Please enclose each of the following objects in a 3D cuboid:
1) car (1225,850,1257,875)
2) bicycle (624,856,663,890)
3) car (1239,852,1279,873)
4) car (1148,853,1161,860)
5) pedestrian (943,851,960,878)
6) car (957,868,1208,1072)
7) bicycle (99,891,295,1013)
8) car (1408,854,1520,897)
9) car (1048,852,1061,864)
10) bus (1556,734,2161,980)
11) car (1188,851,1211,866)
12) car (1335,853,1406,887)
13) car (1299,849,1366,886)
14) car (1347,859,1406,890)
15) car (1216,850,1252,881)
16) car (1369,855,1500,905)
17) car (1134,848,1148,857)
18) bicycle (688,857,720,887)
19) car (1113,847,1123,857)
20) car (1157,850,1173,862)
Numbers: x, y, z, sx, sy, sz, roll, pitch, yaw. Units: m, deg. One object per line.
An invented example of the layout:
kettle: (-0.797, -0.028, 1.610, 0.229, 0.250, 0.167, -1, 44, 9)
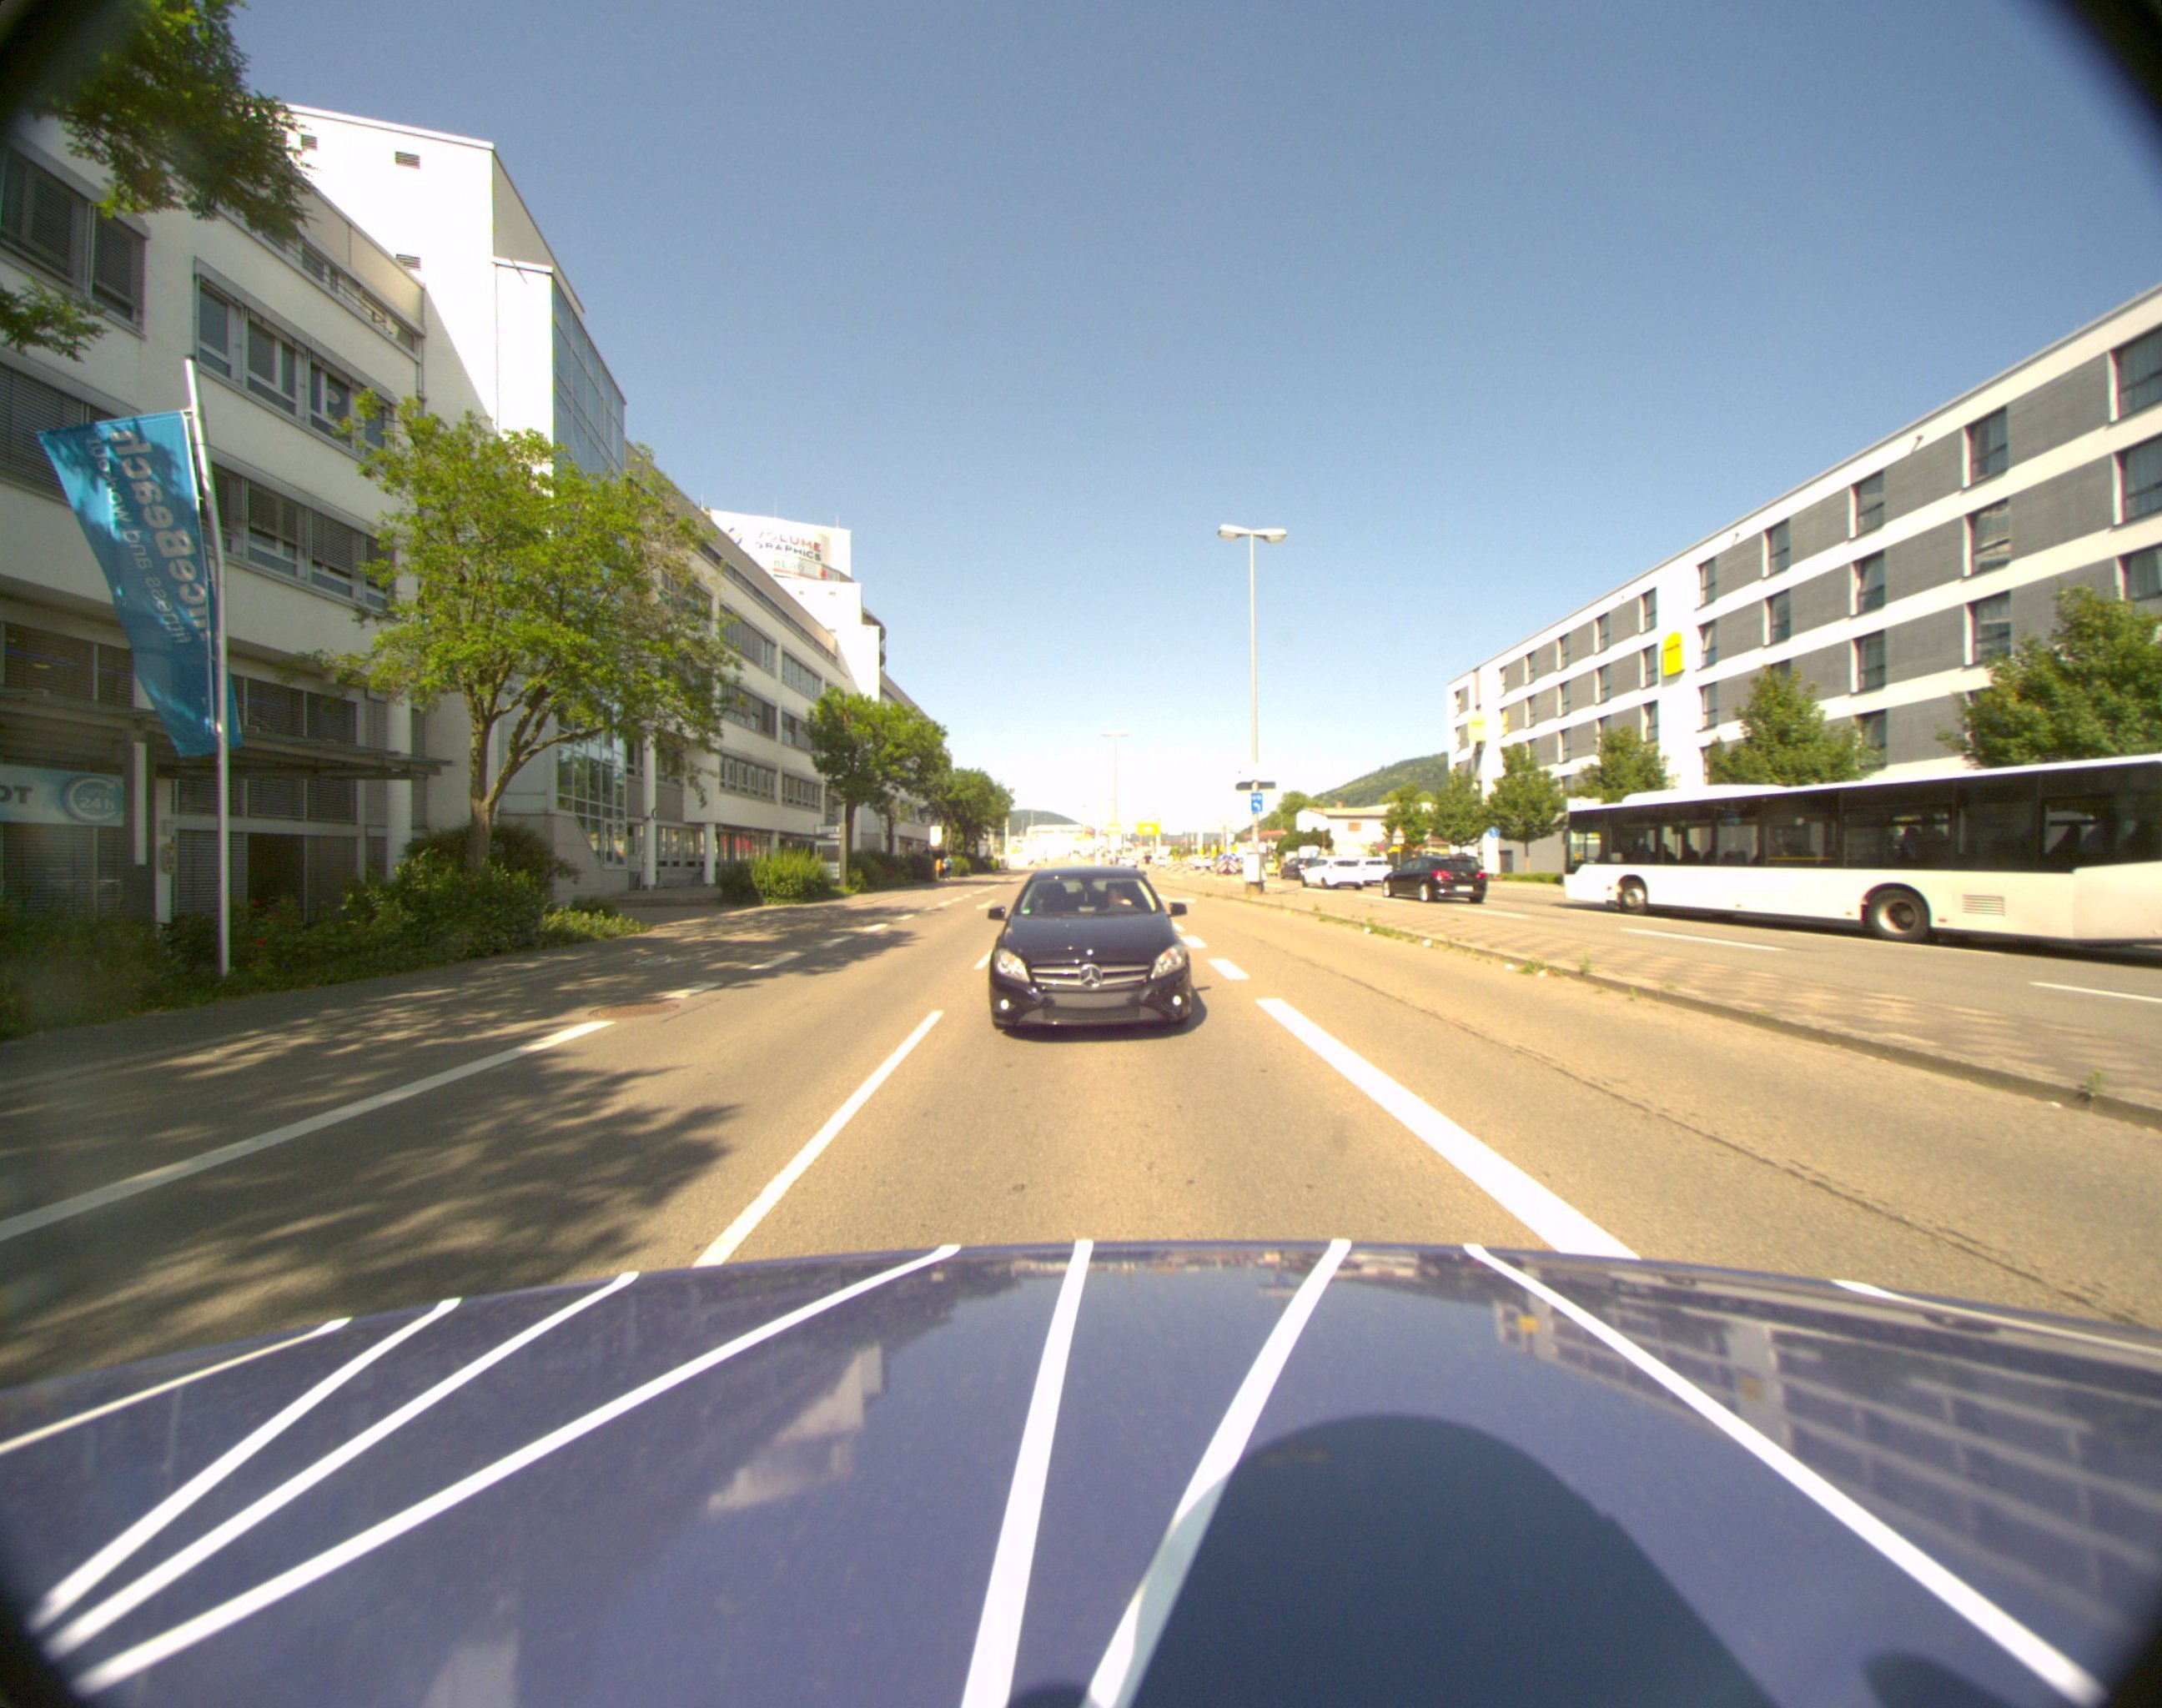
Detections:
car: (14.156, 0.749, 67.397, 1.998, 2.002, 3.999, -2, 1, 1)
bicycle: (-18.053, 0.767, 31.387, 0.506, 1.346, 1.884, -1, 0, 1)
car: (13.792, 0.633, 59.063, 1.998, 1.514, 4.891, -1, 0, 1)
car: (13.145, 0.435, 135.622, 1.815, 1.328, 3.937, -1, 0, -3)
pedestrian: (-9.163, 0.761, 53.912, 0.942, 1.875, 1.289, 2, 1, 0)
car: (0.037, 0.931, 8.156, 1.905, 1.431, 4.693, -1, 0, 1)
bicycle: (-11.258, 1.186, 9.784, 0.506, 1.321, 1.883, 0, 0, -8)
car: (15.009, 0.798, 30.119, 1.998, 1.514, 4.891, -1, 0, 1)
car: (-4.566, 0.675, 132.170, 1.998, 2.002, 4.000, -2, 1, 2)
bus: (14.812, 0.029, 15.380, 2.745, 3.061, 11.974, 1, 0, 0)
car: (13.613, 0.531, 87.528, 1.998, 1.702, 4.891, -1, 0, 1)
car: (14.402, 0.756, 38.044, 1.859, 1.530, 3.976, -1, 1, -3)
car: (11.185, 0.563, 34.035, 1.763, 1.443, 4.000, -2, 1, 2)
car: (16.455, 1.093, 42.525, 1.719, 1.609, 3.591, -1, 0, -4)
car: (10.768, 0.739, 53.798, 1.679, 2.002, 4.164, -2, 1, 1)
car: (11.354, 0.777, 24.835, 1.998, 1.424, 4.890, -1, 0, 0)
car: (12.005, -0.320, 152.765, 2.000, 1.725, 3.997, -1, 0, -8)
bicycle: (-17.712, 0.815, 35.742, 0.506, 1.346, 1.884, -1, 0, 1)
car: (7.948, -0.441, 162.410, 1.998, 2.002, 3.999, -2, 1, 1)
car: (13.161, 0.303, 119.250, 1.999, 2.002, 3.999, 0, 0, -1)
